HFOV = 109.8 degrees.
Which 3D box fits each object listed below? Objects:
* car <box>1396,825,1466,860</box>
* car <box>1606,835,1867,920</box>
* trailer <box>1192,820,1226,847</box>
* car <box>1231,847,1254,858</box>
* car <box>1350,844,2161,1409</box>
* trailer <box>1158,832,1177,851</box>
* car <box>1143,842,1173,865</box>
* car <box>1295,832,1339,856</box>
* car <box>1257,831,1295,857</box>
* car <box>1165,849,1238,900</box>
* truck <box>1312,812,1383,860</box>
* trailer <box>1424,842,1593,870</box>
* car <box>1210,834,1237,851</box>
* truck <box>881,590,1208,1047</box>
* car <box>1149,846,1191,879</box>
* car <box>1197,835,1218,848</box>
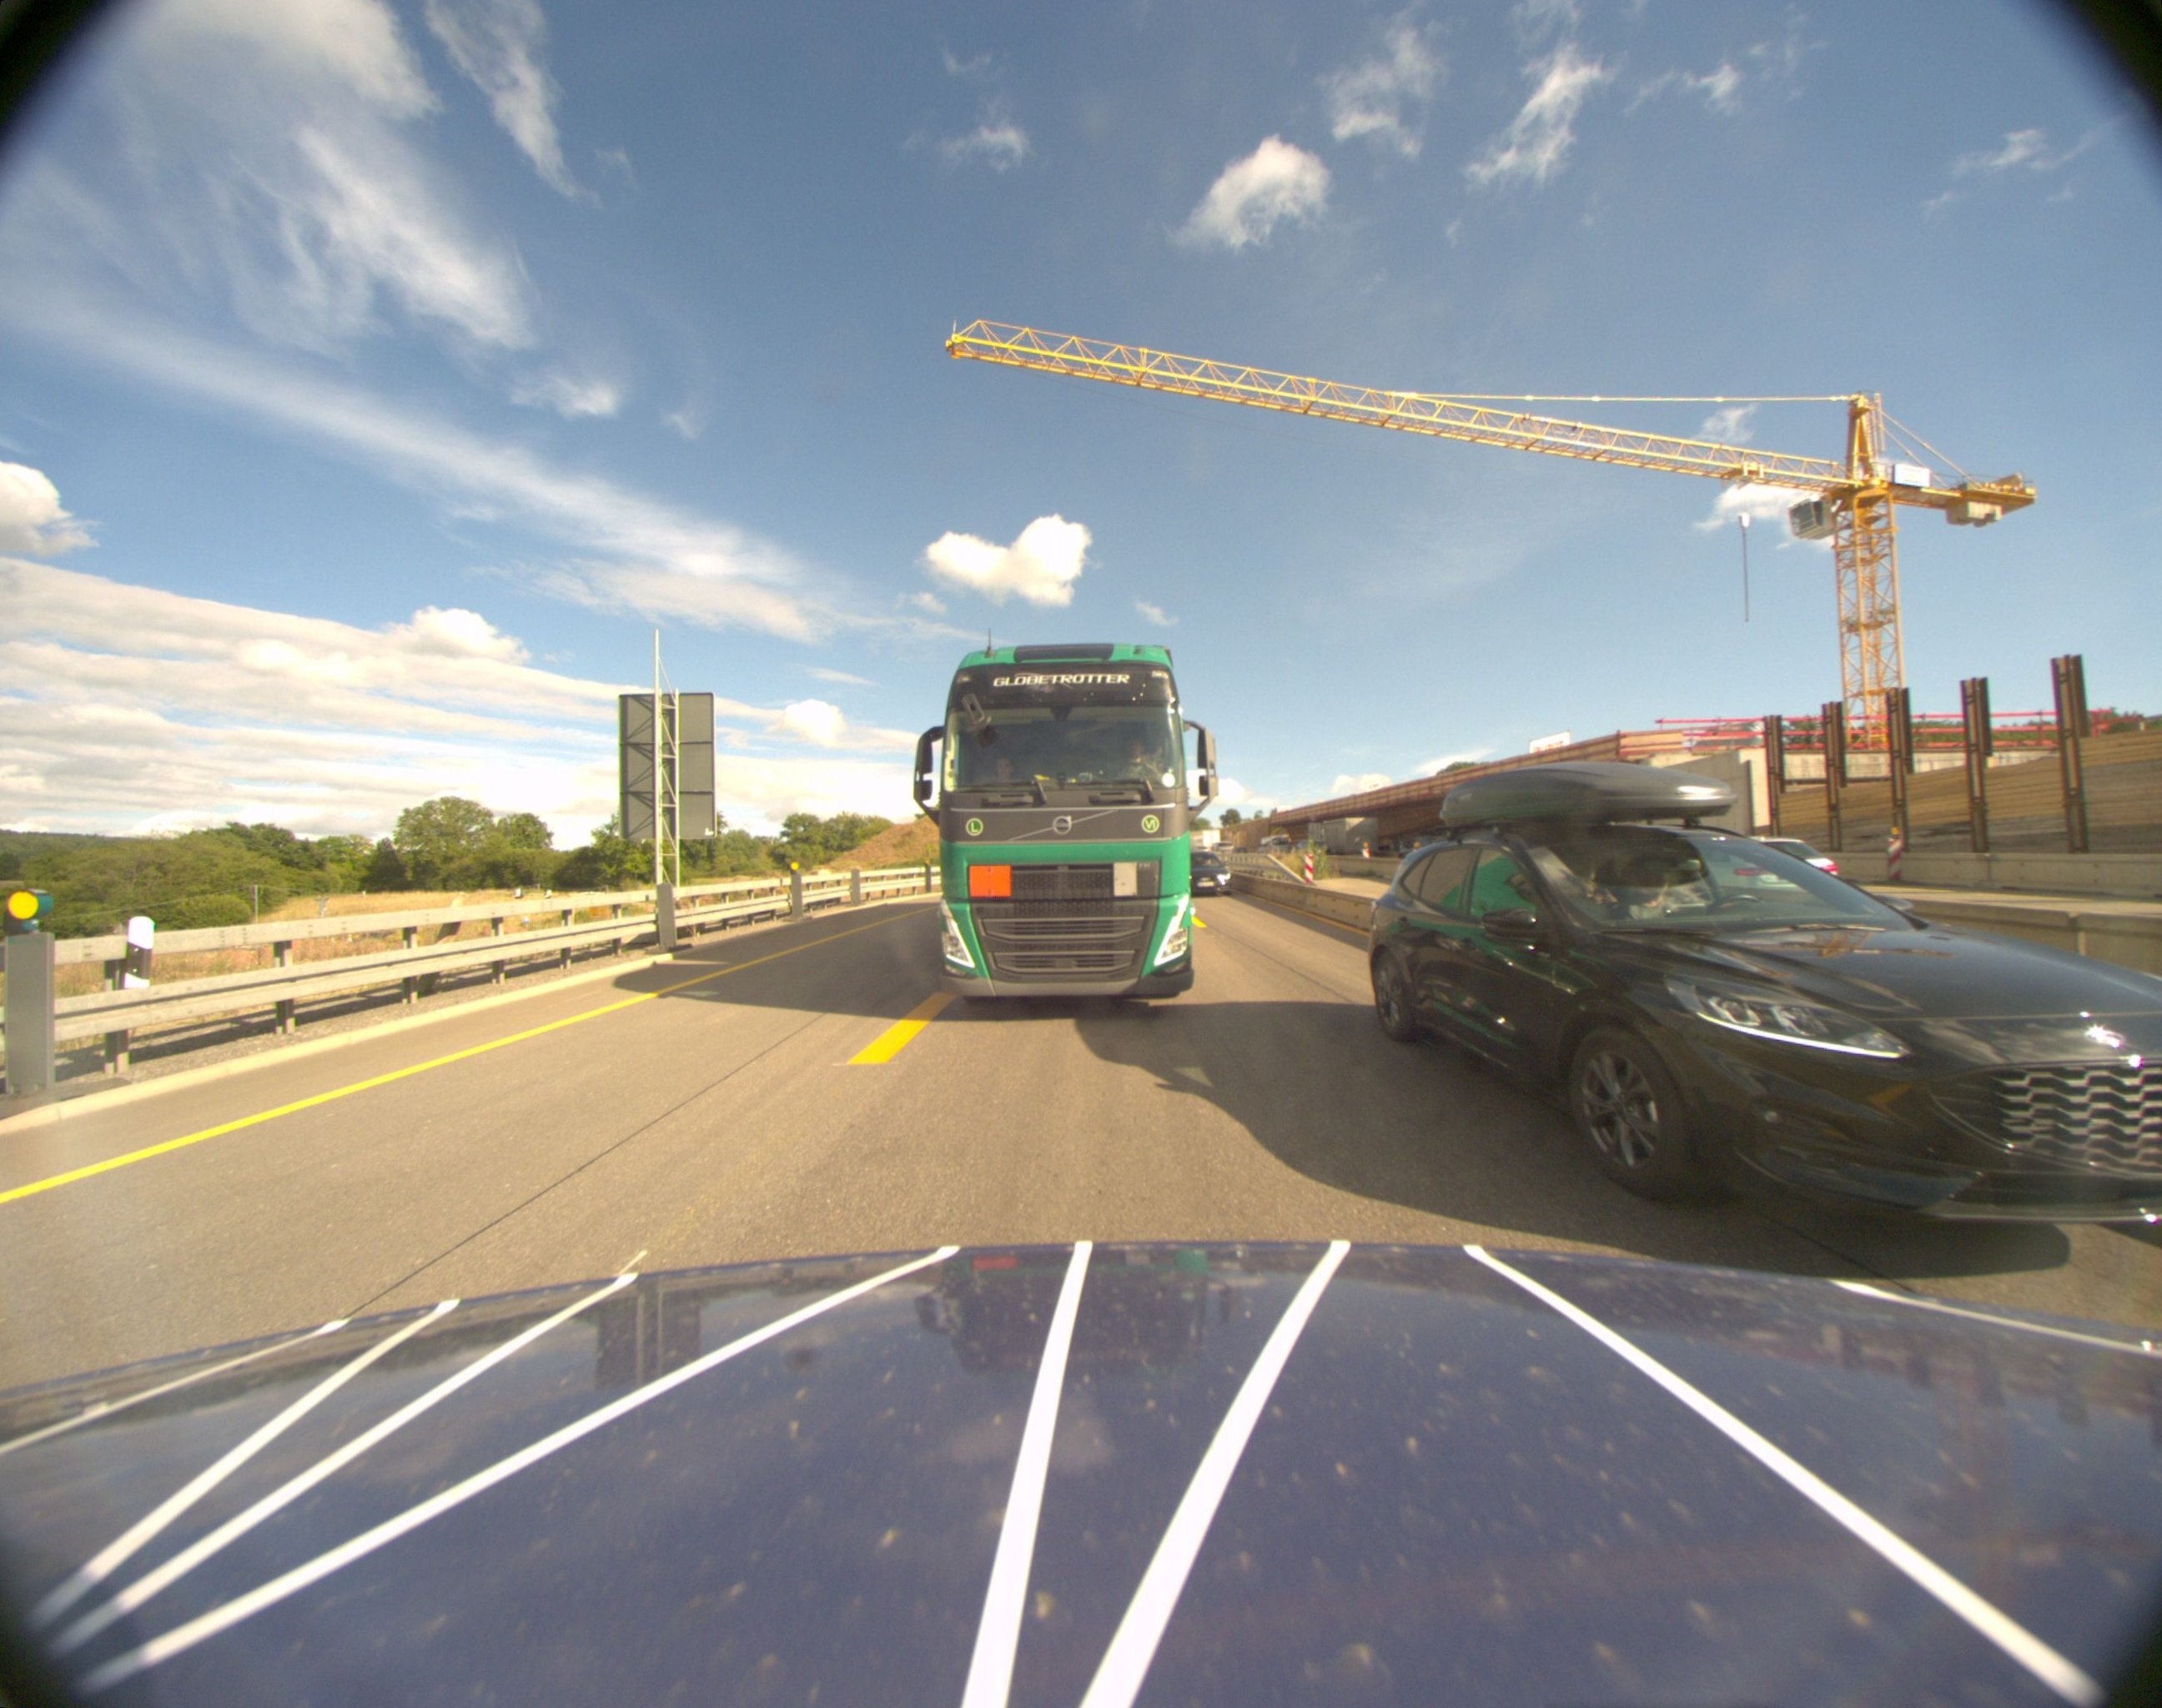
[{"bbox_3d":[19.732,-0.679,43.062,1.998,1.794,4.444,-2,1,2],"label":"car"},{"bbox_3d":[13.050,0.405,15.592,1.856,1.431,4.561,-2,0,8],"label":"car"},{"bbox_3d":[19.808,-3.145,118.414,2.828,3.820,13.799,-2,1,-1],"label":"trailer"},{"bbox_3d":[19.906,-0.202,93.789,1.924,1.265,3.999,-2,1,1],"label":"car"},{"bbox_3d":[3.176,0.751,4.321,1.804,1.533,4.384,-2,1,2],"label":"car"},{"bbox_3d":[19.577,-2.924,173.054,2.694,4.132,13.808,-2,1,0],"label":"trailer"},{"bbox_3d":[5.707,-0.056,56.885,1.806,1.555,4.561,-2,1,1],"label":"car"},{"bbox_3d":[17.139,-0.700,55.441,1.857,1.626,4.749,-2,0,3],"label":"car"},{"bbox_3d":[19.782,-1.051,77.486,2.264,2.389,5.865,-2,1,-1],"label":"car"},{"bbox_3d":[4.002,0.622,25.988,1.806,1.448,4.659,-2,1,1],"label":"car"},{"bbox_3d":[20.239,-1.360,58.146,2.707,3.293,7.535,-2,1,0],"label":"truck"},{"bbox_3d":[19.522,-0.018,35.733,2.357,0.934,10.327,-2,1,2],"label":"trailer"},{"bbox_3d":[16.605,-1.315,88.685,2.131,1.755,5.030,-2,0,0],"label":"car"},{"bbox_3d":[-0.155,-0.406,11.707,2.663,3.826,10.316,-2,1,2],"label":"truck"},{"bbox_3d":[4.848,0.418,41.875,1.806,1.555,4.561,-2,1,1],"label":"car"},{"bbox_3d":[16.878,-1.634,101.653,2.131,1.664,4.272,-2,0,0],"label":"car"}]
